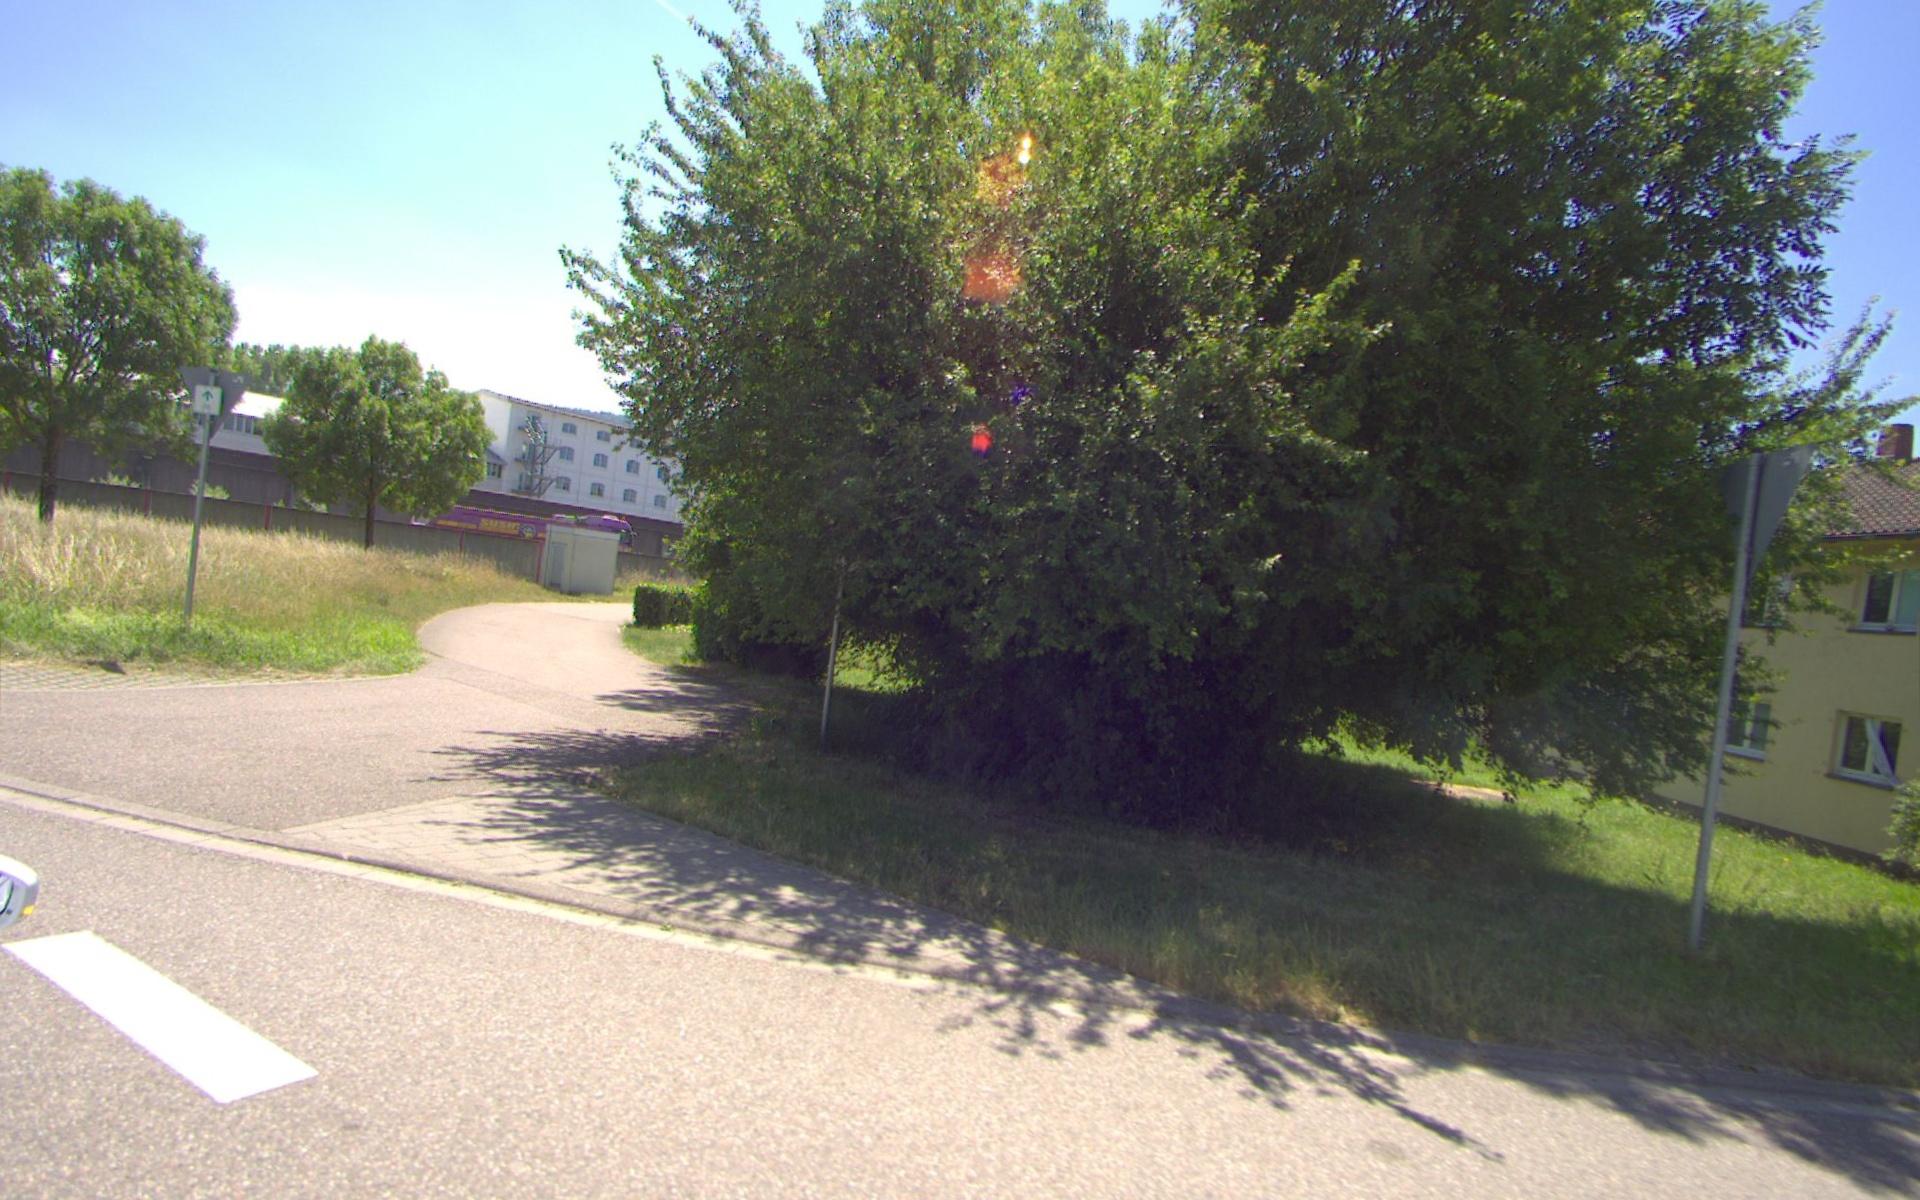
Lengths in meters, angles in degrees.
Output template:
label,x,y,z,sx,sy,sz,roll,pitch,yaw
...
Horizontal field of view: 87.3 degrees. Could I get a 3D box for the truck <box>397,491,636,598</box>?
label,x,y,z,sx,sy,sz,roll,pitch,yaw
truck,-24.107,-2.882,55.629,2.961,4.231,11.762,7,0,39
